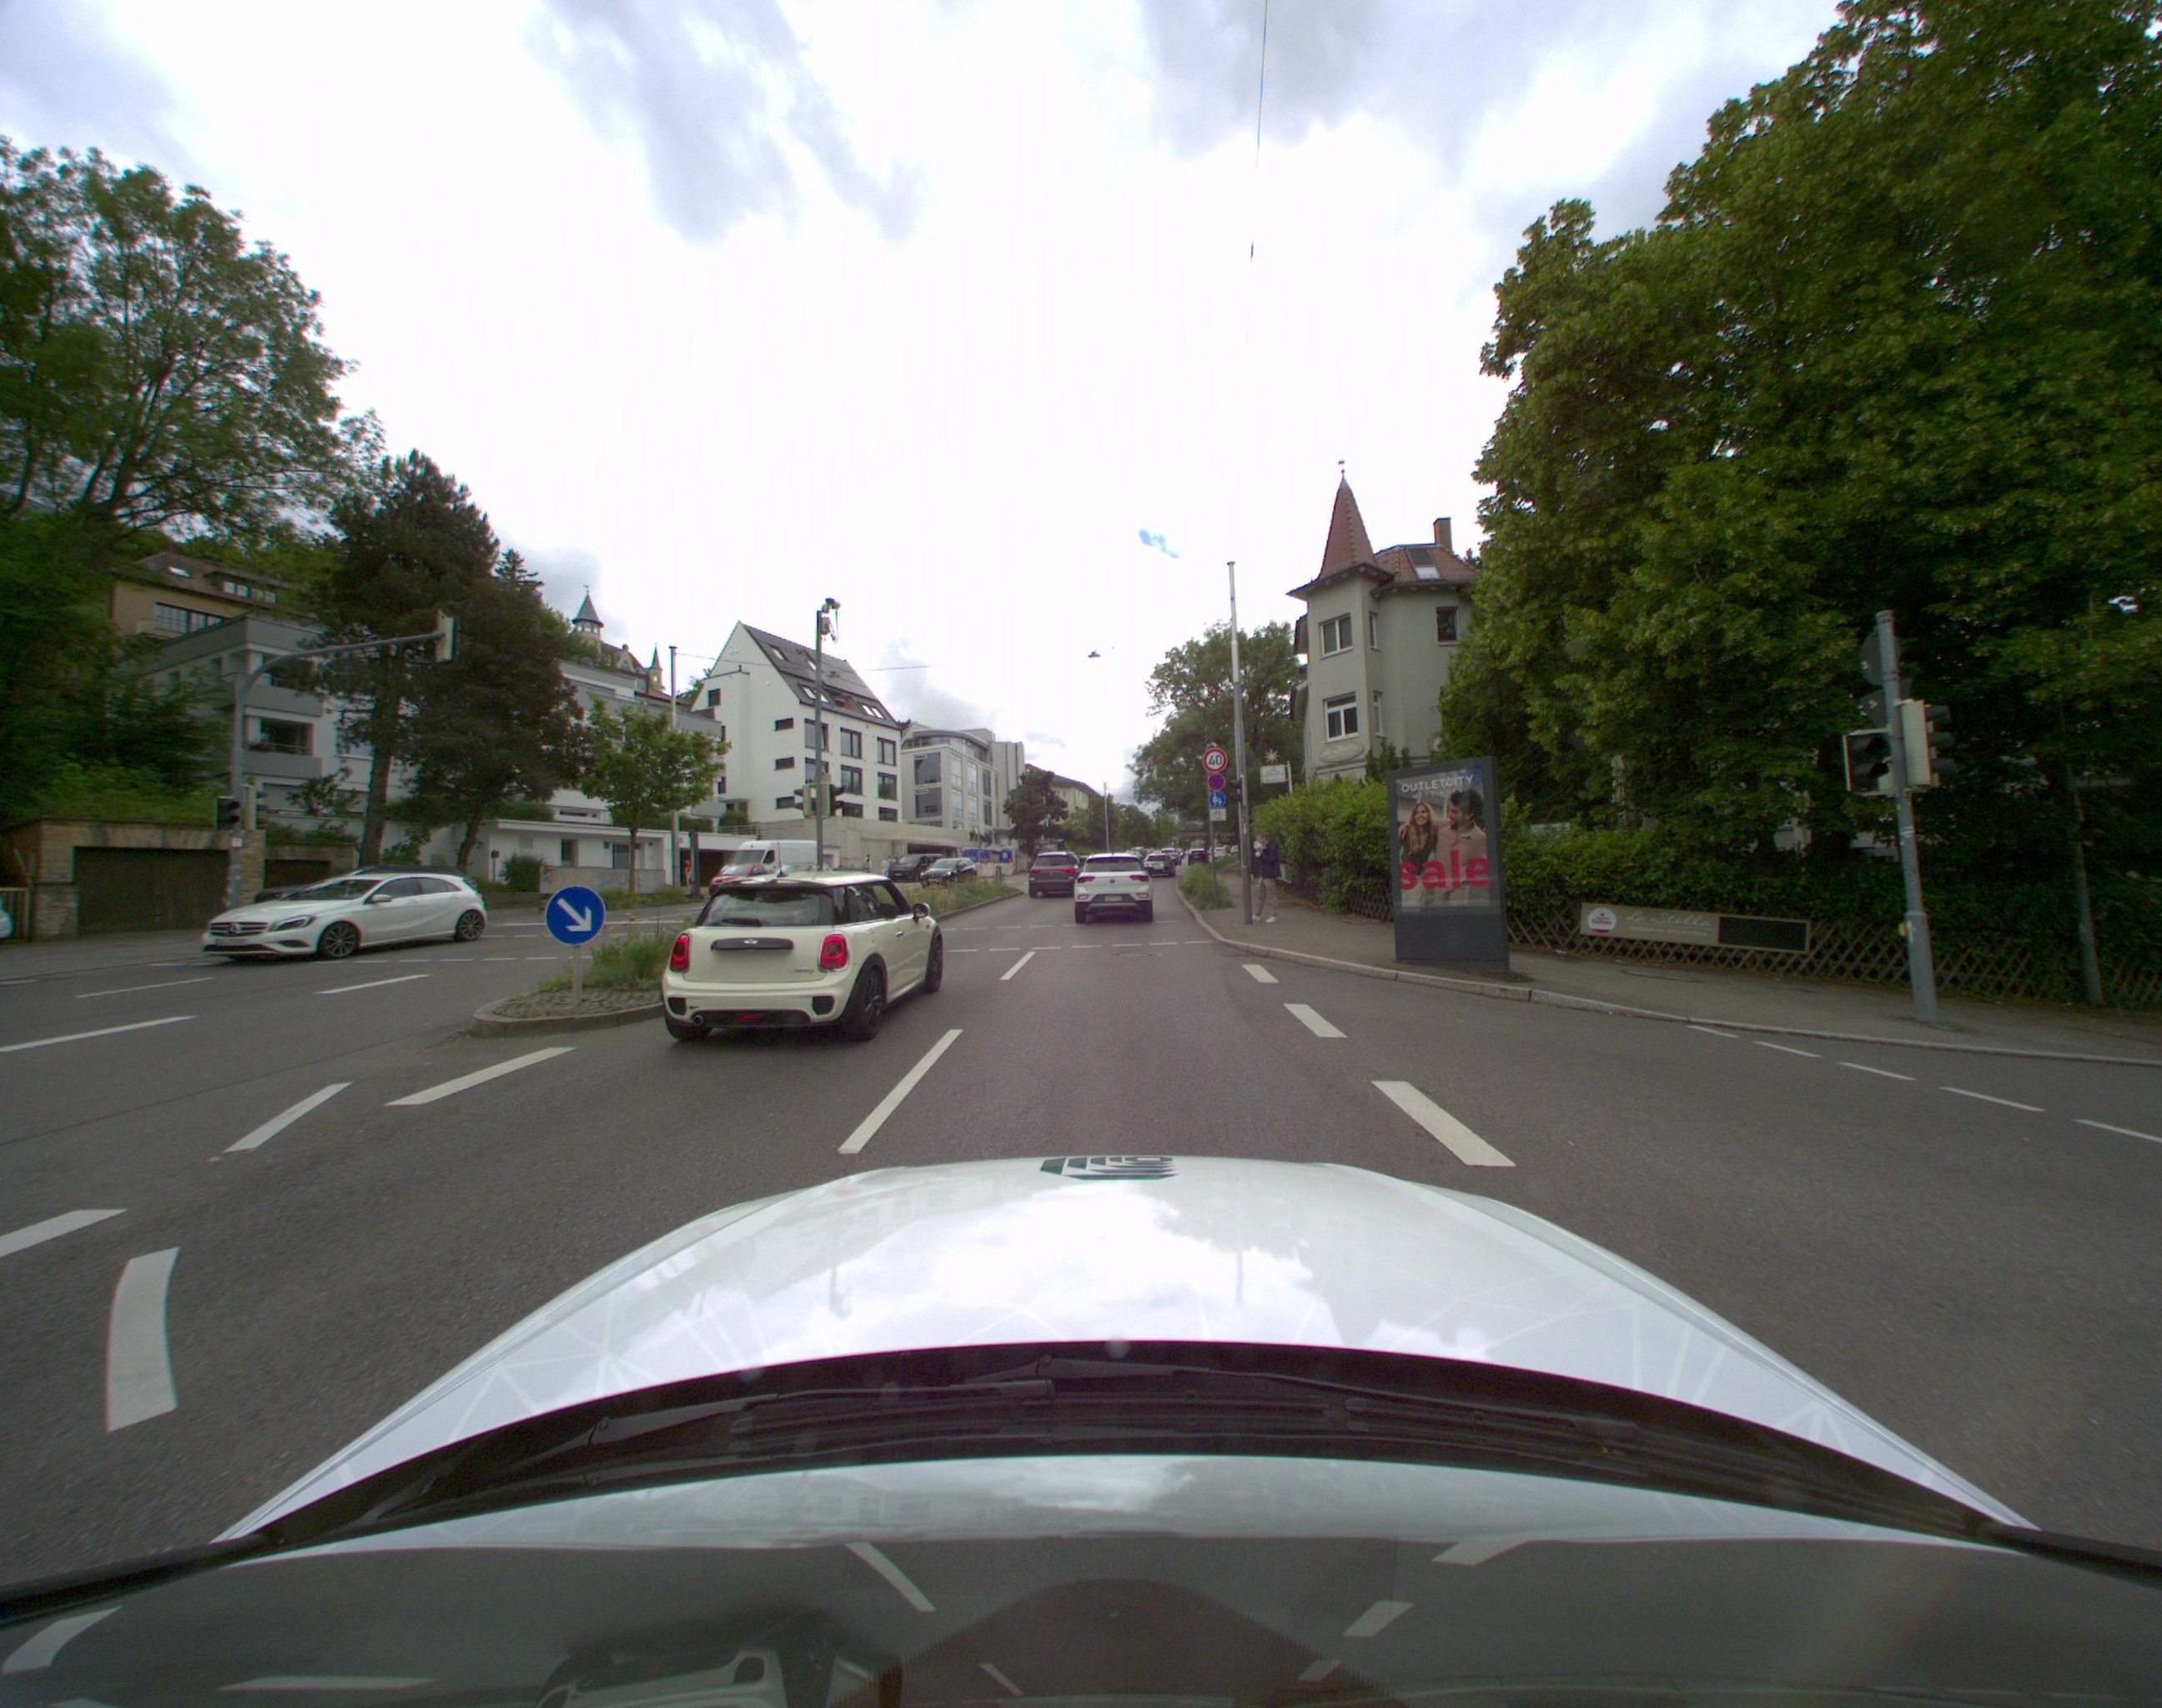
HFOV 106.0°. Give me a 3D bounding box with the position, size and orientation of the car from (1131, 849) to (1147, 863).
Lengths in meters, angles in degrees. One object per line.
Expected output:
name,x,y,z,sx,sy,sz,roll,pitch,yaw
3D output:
car,10.189,0.396,142.858,2.056,2.306,5.481,-2,0,10

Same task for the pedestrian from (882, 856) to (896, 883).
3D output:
pedestrian,-13.161,1.059,55.779,0.679,1.840,0.664,0,-1,-37

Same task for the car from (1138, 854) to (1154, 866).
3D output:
car,10.256,0.930,127.891,2.056,1.656,4.706,-2,0,10

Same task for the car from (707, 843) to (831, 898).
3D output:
car,-15.926,0.780,42.232,2.216,2.568,7.446,-2,0,12

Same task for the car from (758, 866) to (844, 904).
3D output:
car,-11.275,1.215,33.029,1.616,1.393,3.867,0,0,10

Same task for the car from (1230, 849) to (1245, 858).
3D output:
car,27.716,-0.092,144.444,1.977,1.500,4.059,-3,0,3

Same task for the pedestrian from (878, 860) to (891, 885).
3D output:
pedestrian,-13.183,1.225,54.641,0.679,1.640,0.664,0,-1,-37

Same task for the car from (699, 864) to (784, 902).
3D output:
car,-14.676,1.229,35.429,1.612,1.465,3.935,-2,0,8

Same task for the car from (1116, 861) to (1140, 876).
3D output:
car,4.980,1.506,85.683,1.683,1.496,4.503,-1,0,14

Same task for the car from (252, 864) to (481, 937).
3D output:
car,-17.844,1.085,20.485,1.578,1.540,4.158,-2,-1,42

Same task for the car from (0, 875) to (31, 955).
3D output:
car,-21.761,1.137,14.861,2.717,1.520,1.550,2,-2,-28

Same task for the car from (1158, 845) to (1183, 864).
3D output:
car,8.742,0.031,79.062,1.846,1.652,4.651,-3,0,12

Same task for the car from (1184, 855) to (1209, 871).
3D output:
car,10.899,0.860,76.625,1.860,1.501,4.571,1,-1,13

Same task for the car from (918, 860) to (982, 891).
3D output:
car,-6.711,1.061,42.207,1.680,1.501,4.570,-1,-1,12

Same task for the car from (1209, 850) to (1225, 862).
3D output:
car,17.488,0.245,104.413,1.846,1.500,4.068,-3,0,11

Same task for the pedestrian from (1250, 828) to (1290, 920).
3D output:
pedestrian,3.874,0.404,16.703,0.690,1.834,0.620,-1,-1,3

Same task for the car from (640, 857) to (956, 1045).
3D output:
car,-2.495,0.771,8.133,1.620,1.393,3.570,-3,0,4

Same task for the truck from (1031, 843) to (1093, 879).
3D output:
truck,-1.524,0.554,72.707,2.938,2.971,9.016,-1,0,16

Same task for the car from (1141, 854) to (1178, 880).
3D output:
car,4.824,0.801,49.814,1.861,1.501,4.567,1,-1,10

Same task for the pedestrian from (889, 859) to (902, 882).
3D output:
pedestrian,-12.966,1.142,56.867,0.679,1.640,0.664,0,-1,-37

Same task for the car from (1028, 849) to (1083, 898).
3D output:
car,-0.893,0.711,31.013,1.806,1.652,4.637,-3,0,1

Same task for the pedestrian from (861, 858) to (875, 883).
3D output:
pedestrian,-14.280,1.099,54.635,0.620,1.640,0.675,0,0,18

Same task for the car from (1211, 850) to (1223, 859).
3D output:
car,24.255,0.099,145.070,1.848,1.500,4.063,-3,0,7

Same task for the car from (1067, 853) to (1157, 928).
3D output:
car,0.654,0.802,19.530,1.807,1.539,3.686,-3,0,-3

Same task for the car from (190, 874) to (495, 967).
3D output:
car,-13.241,1.104,15.023,1.644,1.393,4.148,0,0,3

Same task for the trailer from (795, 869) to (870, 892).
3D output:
trailer,-14.604,1.531,48.132,2.231,1.112,4.637,-2,0,12

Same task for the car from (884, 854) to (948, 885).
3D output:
car,-11.279,1.041,56.075,1.967,1.967,5.241,-2,0,17
